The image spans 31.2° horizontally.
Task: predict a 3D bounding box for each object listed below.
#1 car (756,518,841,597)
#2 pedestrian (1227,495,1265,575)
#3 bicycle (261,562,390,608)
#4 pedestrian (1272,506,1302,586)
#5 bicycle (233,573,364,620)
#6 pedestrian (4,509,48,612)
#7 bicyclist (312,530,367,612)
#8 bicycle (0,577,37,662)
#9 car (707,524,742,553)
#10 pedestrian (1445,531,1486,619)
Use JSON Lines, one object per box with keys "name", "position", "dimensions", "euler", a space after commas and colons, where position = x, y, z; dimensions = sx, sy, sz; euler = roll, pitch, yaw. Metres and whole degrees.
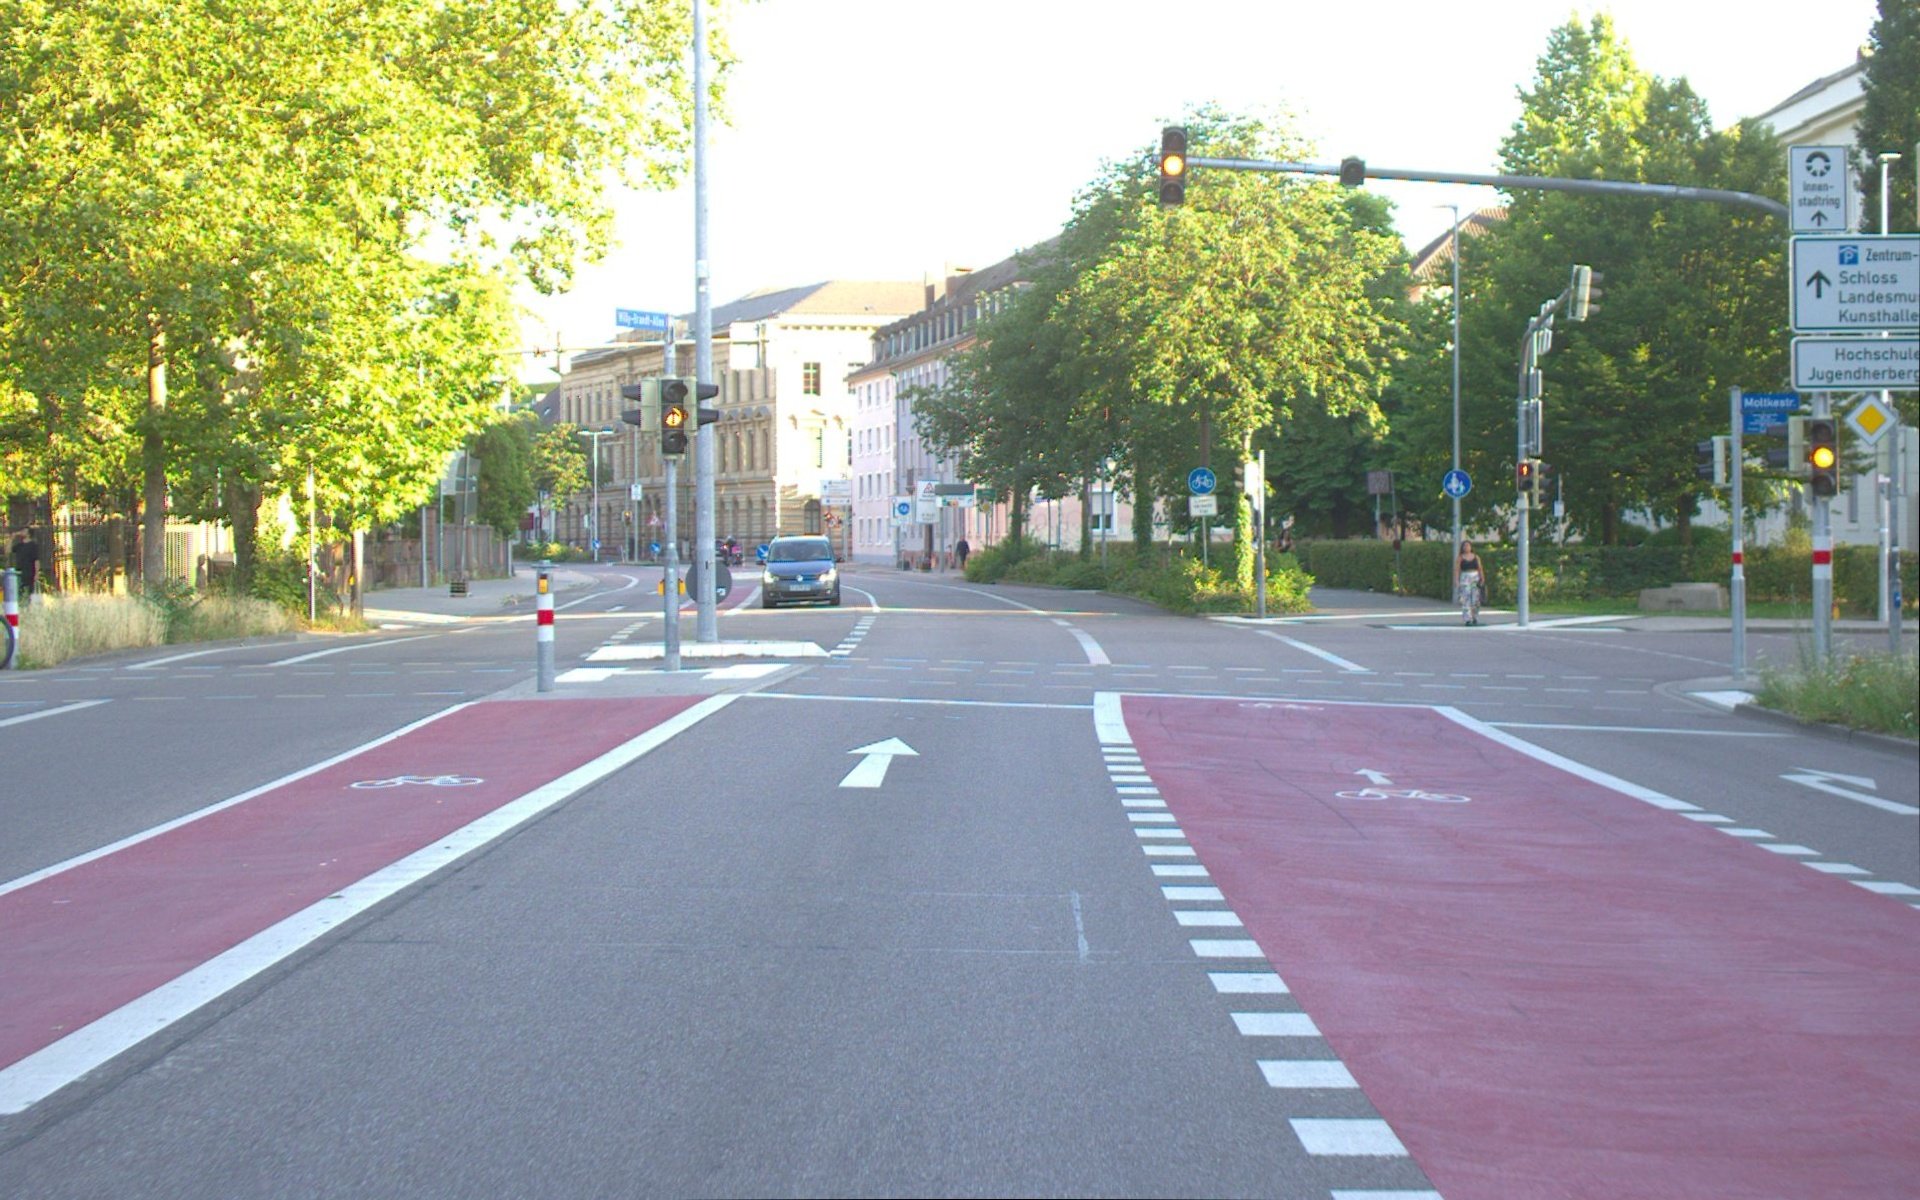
{"name": "car", "position": [-3.735, -0.994, 79.943], "dimensions": [1.849, 1.714, 4.296], "euler": [-2, 1, -2]}
{"name": "pedestrian", "position": [7.215, -1.637, 86.610], "dimensions": [0.870, 2.007, 0.722], "euler": [1, 1, 1]}
{"name": "bicycle", "position": [-12.755, -0.302, 69.138], "dimensions": [2.430, 0.921, 0.775], "euler": [0, 1, 2]}
{"name": "pedestrian", "position": [8.297, -1.372, 87.295], "dimensions": [0.635, 2.007, 0.720], "euler": [1, 1, -2]}
{"name": "bicycle", "position": [-13.072, -0.078, 67.989], "dimensions": [2.430, 0.921, 0.775], "euler": [0, 1, 2]}
{"name": "pedestrian", "position": [-18.284, -0.781, 67.326], "dimensions": [0.640, 2.007, 0.701], "euler": [0, 1, 3]}
{"name": "bicyclist", "position": [-12.470, -0.589, 69.122], "dimensions": [0.958, 1.625, 0.753], "euler": [0, 1, 2]}
{"name": "bicycle", "position": [-12.225, 0.231, 42.399], "dimensions": [1.769, 1.026, 0.578], "euler": [1, 1, 32]}
{"name": "car", "position": [-13.218, -3.452, 193.074], "dimensions": [1.819, 1.583, 4.001], "euler": [-1, 1, -3]}
{"name": "pedestrian", "position": [9.485, -0.475, 64.473], "dimensions": [0.599, 1.630, 0.691], "euler": [1, 2, -3]}
